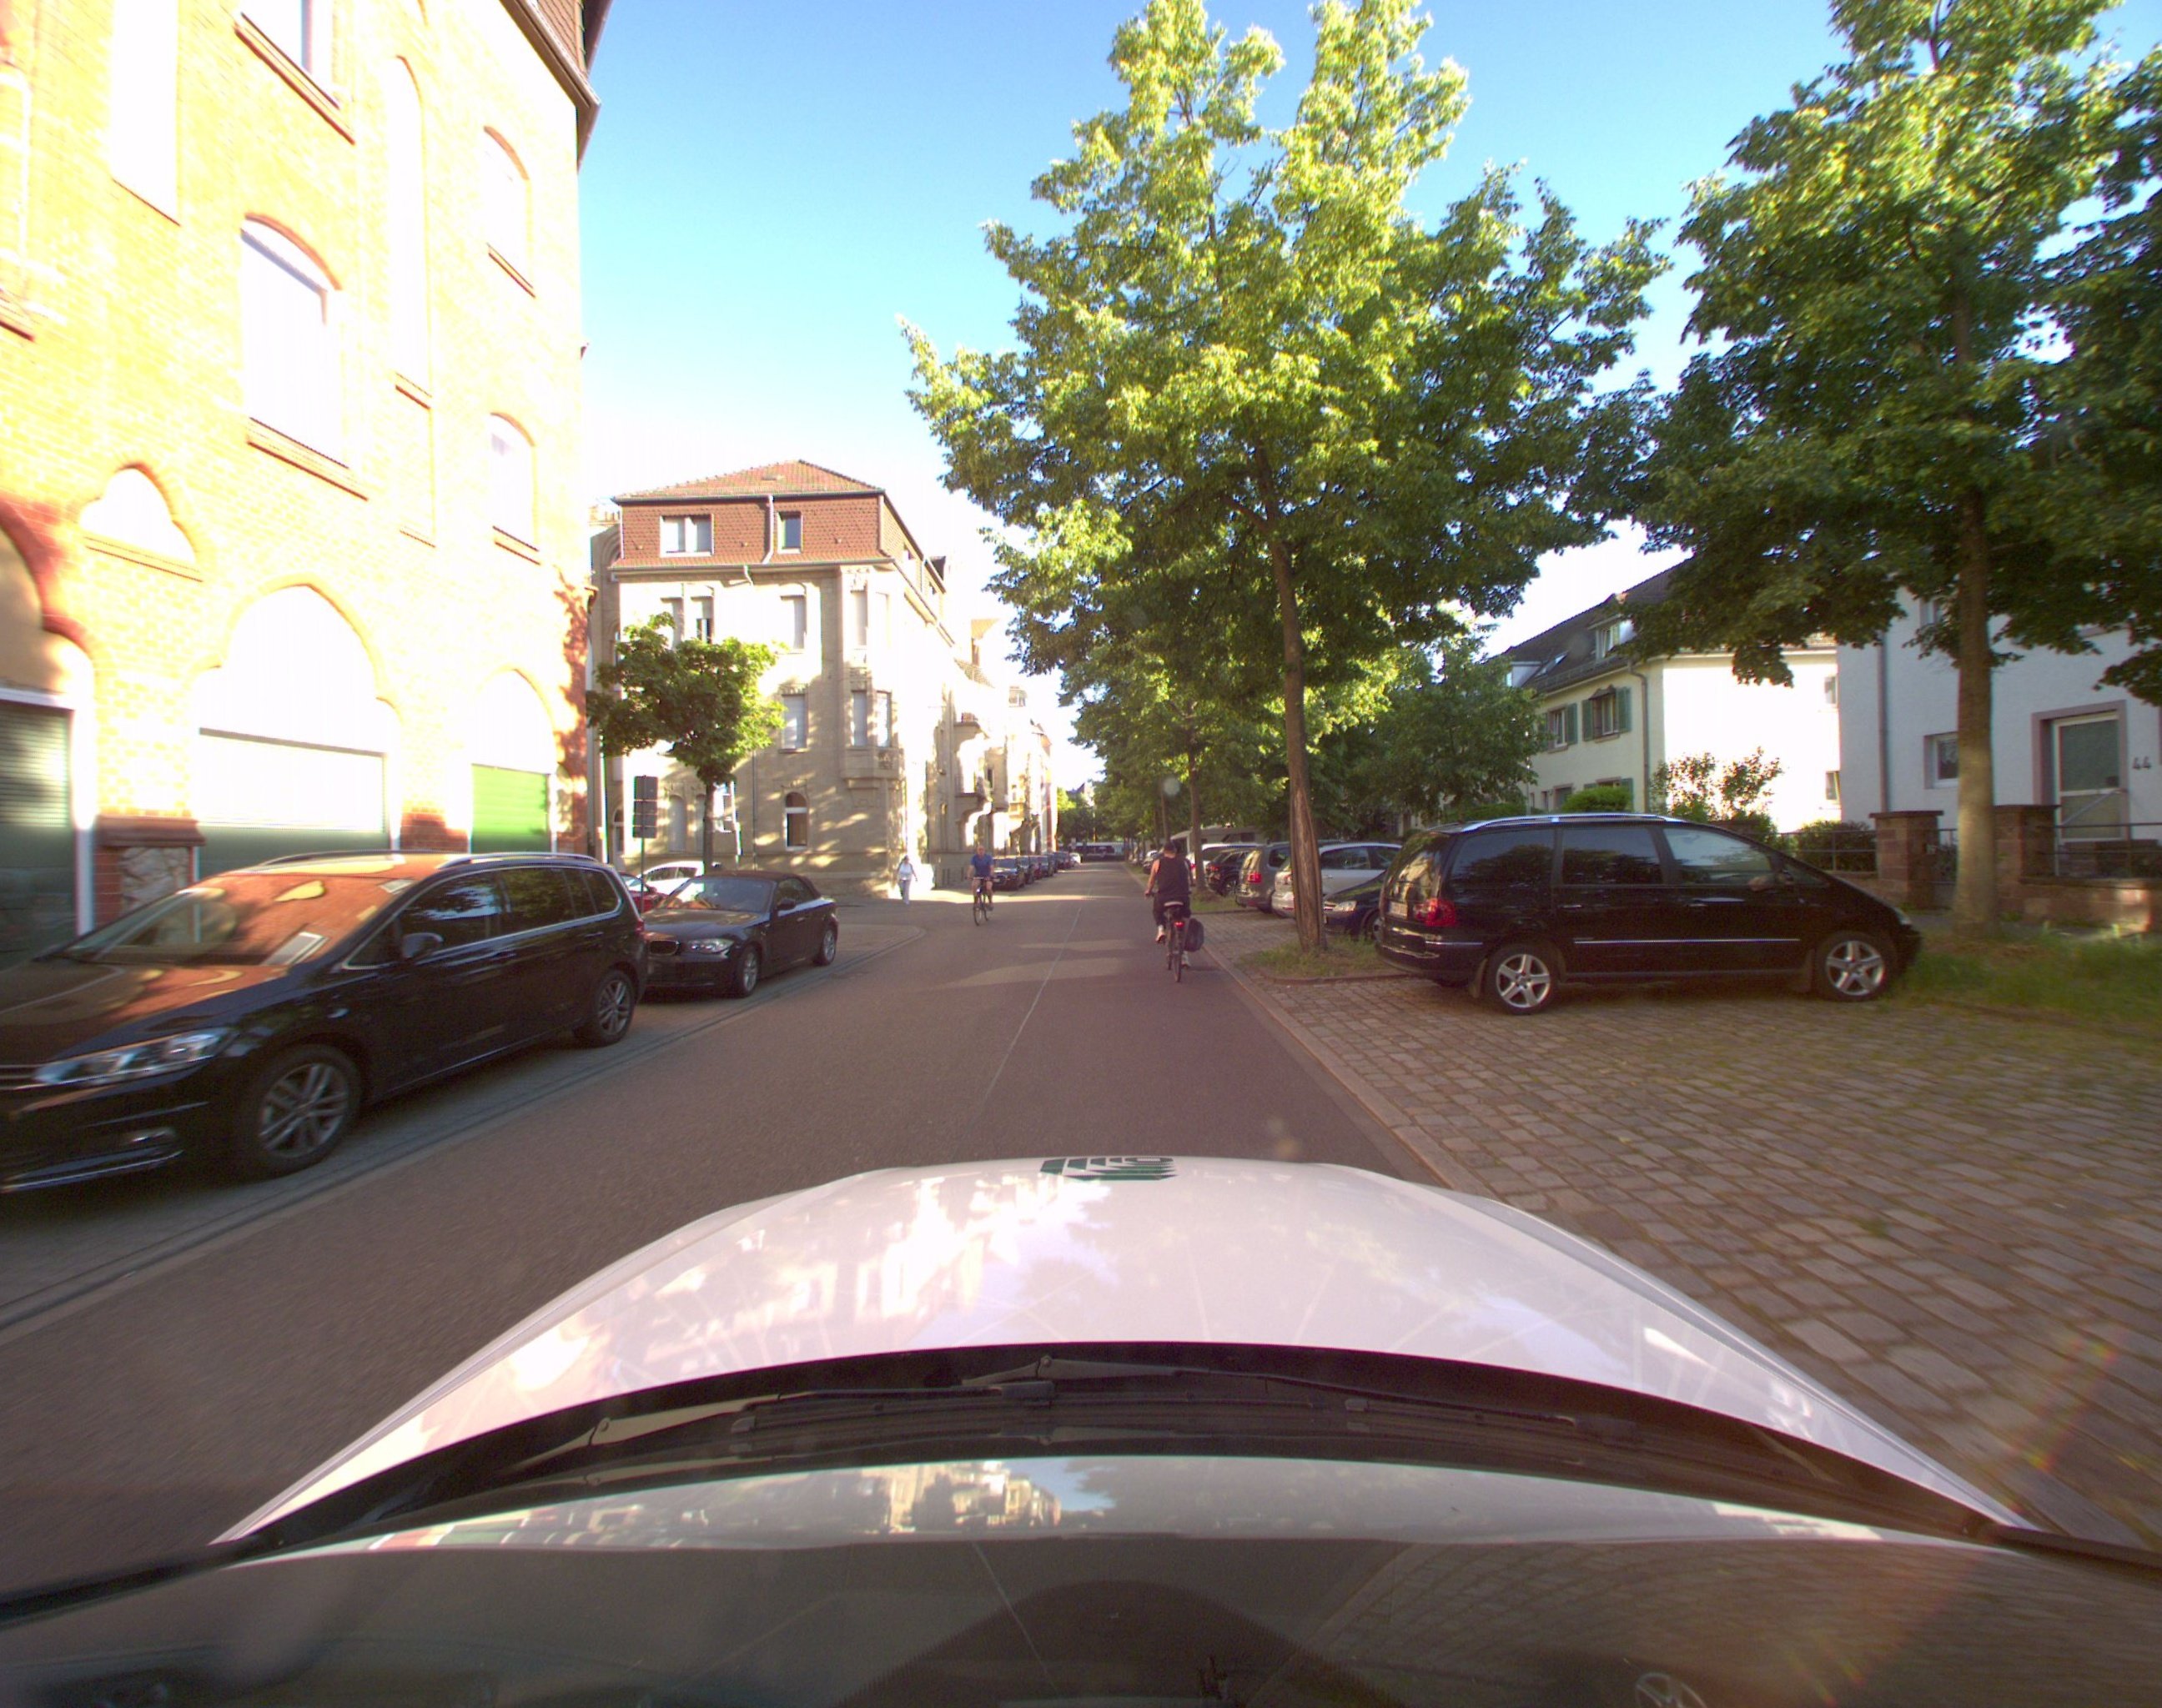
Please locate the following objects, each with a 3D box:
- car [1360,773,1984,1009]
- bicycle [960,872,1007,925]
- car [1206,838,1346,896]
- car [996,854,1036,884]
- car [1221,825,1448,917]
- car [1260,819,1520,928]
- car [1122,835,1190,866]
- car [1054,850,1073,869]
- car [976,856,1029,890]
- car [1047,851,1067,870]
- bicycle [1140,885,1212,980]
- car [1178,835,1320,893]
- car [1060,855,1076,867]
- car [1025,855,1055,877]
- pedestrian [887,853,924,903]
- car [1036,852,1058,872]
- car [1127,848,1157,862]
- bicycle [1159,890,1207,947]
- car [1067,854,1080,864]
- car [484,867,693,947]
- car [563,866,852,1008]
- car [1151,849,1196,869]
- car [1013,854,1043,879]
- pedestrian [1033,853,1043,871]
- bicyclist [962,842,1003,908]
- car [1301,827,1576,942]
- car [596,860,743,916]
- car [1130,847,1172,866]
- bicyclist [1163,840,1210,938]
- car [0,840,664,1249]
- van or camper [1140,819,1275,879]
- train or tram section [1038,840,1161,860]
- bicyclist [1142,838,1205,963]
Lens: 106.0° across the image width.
[{"bbox_3d":[5.369,0.328,7.963,4.562,1.677,1.909,-5,0,3],"label":"car"},{"bbox_3d":[-2.234,1.001,18.861,0.755,1.107,1.908,-2,-1,2],"label":"bicycle"},{"bbox_3d":[6.189,0.394,26.143,4.051,1.476,1.695,-5,1,2],"label":"car"},{"bbox_3d":[-3.337,0.767,42.622,1.690,1.453,4.027,-1,-1,0],"label":"car"},{"bbox_3d":[5.691,0.359,18.601,4.530,1.633,1.809,-5,0,-4],"label":"car"},{"bbox_3d":[5.751,0.353,15.580,4.252,1.633,1.692,-5,0,4],"label":"car"},{"bbox_3d":[8.294,-0.345,90.374,7.126,2.978,2.463,-3,0,-1],"label":"car"},{"bbox_3d":[-1.848,0.560,85.458,1.682,1.825,4.275,1,1,2],"label":"car"},{"bbox_3d":[-3.499,0.831,37.318,1.804,1.427,4.899,1,0,2],"label":"car"},{"bbox_3d":[-2.296,0.584,78.631,1.634,1.783,4.357,1,1,2],"label":"car"},{"bbox_3d":[1.188,0.965,10.588,0.735,1.054,1.956,0,-1,1],"label":"bicycle"},{"bbox_3d":[5.835,0.332,28.669,4.600,1.709,1.835,-4,0,3],"label":"car"},{"bbox_3d":[-1.547,0.786,96.467,1.577,1.343,4.134,1,1,2],"label":"car"},{"bbox_3d":[-2.784,0.795,56.188,1.669,1.430,4.553,1,1,2],"label":"car"},{"bbox_3d":[-5.819,0.794,27.112,0.884,1.577,1.054,-3,1,2],"label":"pedestrian"},{"bbox_3d":[-2.721,0.648,65.221,1.590,1.489,2.737,2,1,0],"label":"car"},{"bbox_3d":[8.417,0.149,112.661,3.975,1.803,1.833,0,-1,-1],"label":"car"},{"bbox_3d":[1.727,1.085,14.023,0.631,0.799,1.833,-2,0,2],"label":"bicycle"},{"bbox_3d":[-1.101,0.714,114.144,1.577,1.375,4.134,1,1,2],"label":"car"},{"bbox_3d":[-10.568,1.059,17.956,1.629,1.468,4.660,-1,0,2],"label":"car"},{"bbox_3d":[-4.525,0.899,10.694,1.629,1.410,4.335,1,0,2],"label":"car"},{"bbox_3d":[7.881,0.433,69.635,3.757,1.600,1.692,-2,-2,3],"label":"car"},{"bbox_3d":[-3.240,0.760,50.299,1.624,1.453,3.837,0,0,-1],"label":"car"},{"bbox_3d":[-4.096,0.734,77.922,0.934,1.742,0.735,0,-1,2],"label":"pedestrian"},{"bbox_3d":[-2.260,0.471,18.840,0.757,1.454,0.949,-2,-1,1],"label":"bicyclist"},{"bbox_3d":[5.702,0.467,13.297,3.708,1.453,1.589,-5,0,1],"label":"car"},{"bbox_3d":[-13.224,1.076,26.359,3.784,1.550,1.719,-2,3,-1],"label":"car"},{"bbox_3d":[7.136,0.243,83.005,4.070,1.650,1.641,-5,0,-1],"label":"car"},{"bbox_3d":[1.821,0.584,14.160,0.686,1.626,0.999,-2,0,2],"label":"bicyclist"},{"bbox_3d":[-4.797,0.800,5.534,1.664,1.681,4.349,-1,0,0],"label":"car"},{"bbox_3d":[6.929,-0.267,45.373,7.116,2.647,2.467,-5,0,3],"label":"van or camper"},{"bbox_3d":[3.721,-0.673,156.310,23.889,3.708,4.256,0,-1,-21],"label":"train or tram section"},{"bbox_3d":[1.190,0.585,10.614,0.727,1.548,0.884,0,-1,1],"label":"bicyclist"}]
